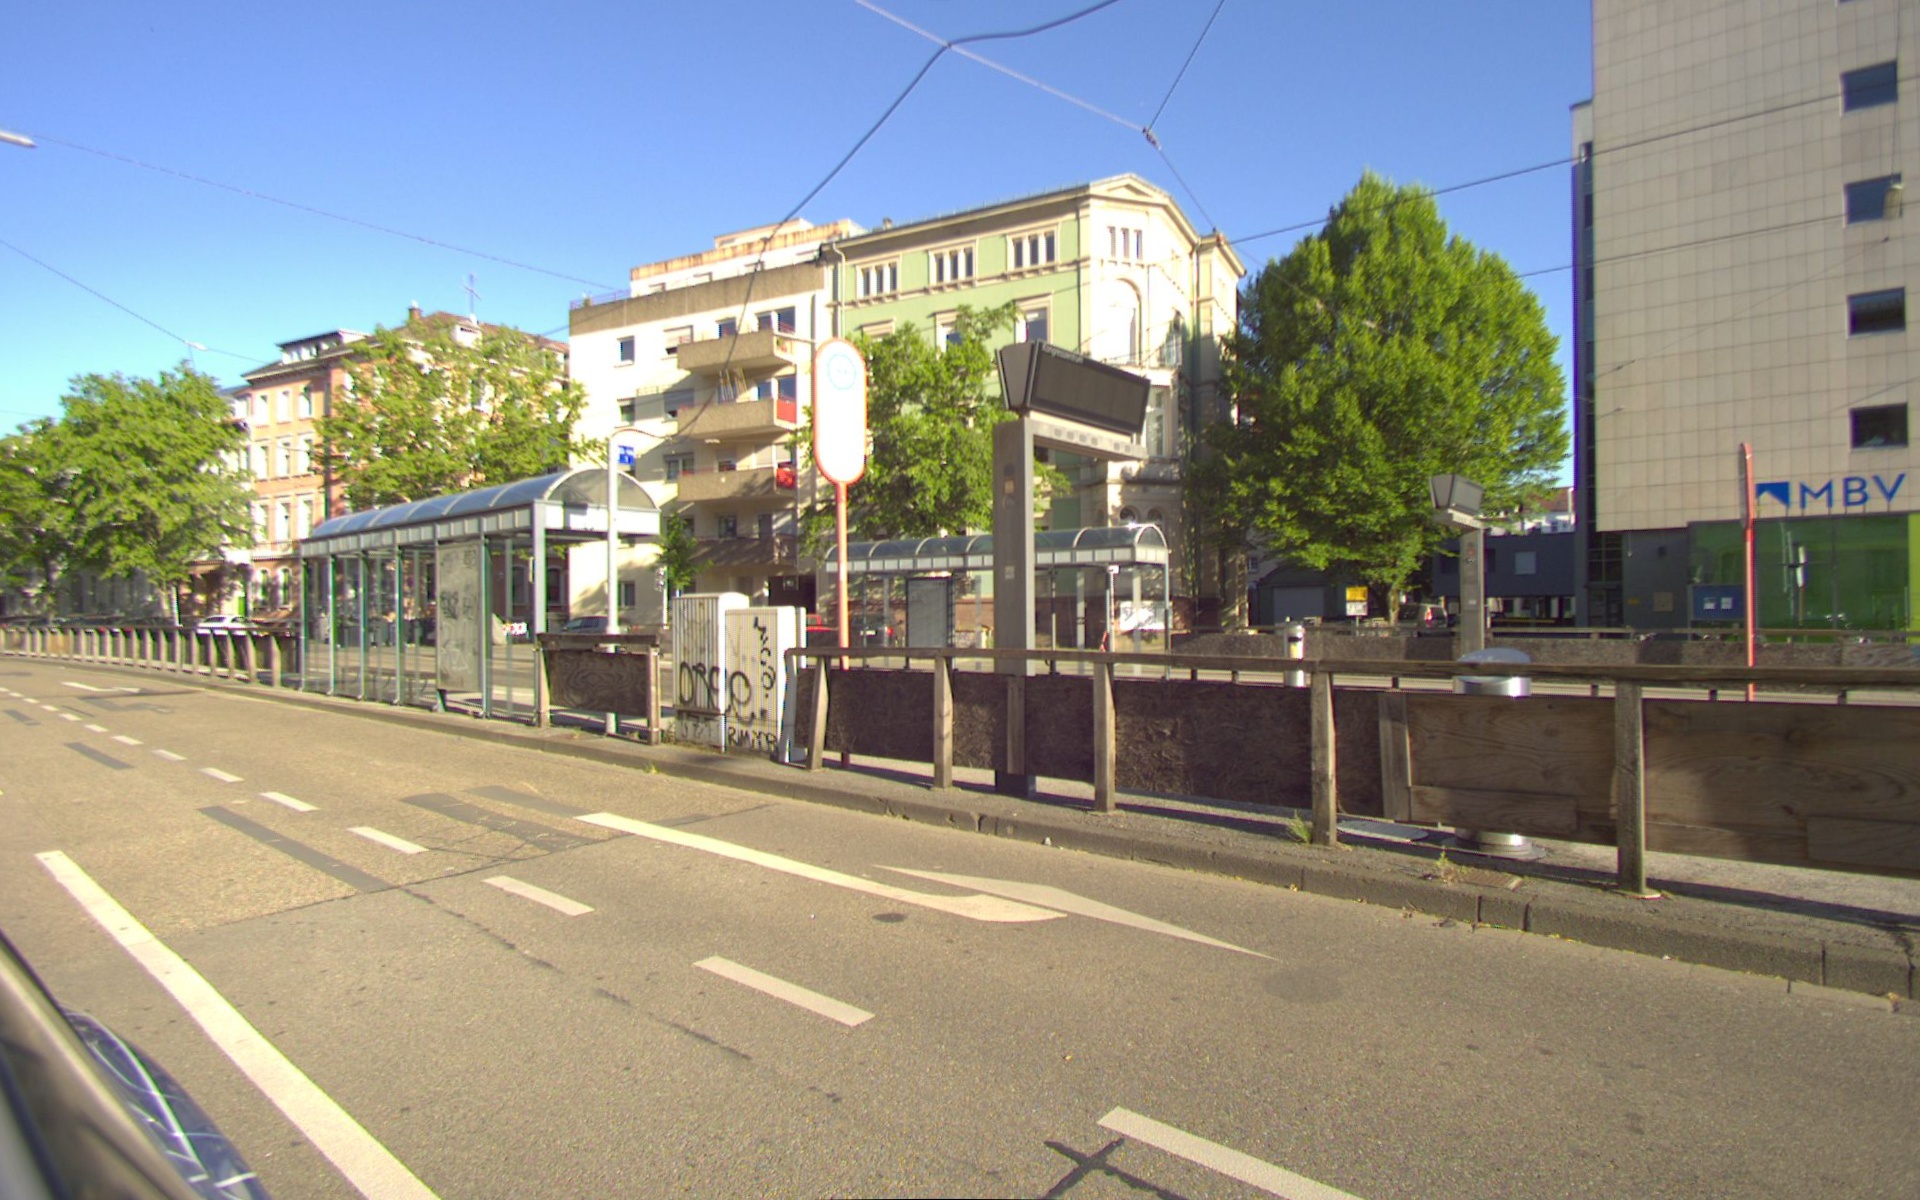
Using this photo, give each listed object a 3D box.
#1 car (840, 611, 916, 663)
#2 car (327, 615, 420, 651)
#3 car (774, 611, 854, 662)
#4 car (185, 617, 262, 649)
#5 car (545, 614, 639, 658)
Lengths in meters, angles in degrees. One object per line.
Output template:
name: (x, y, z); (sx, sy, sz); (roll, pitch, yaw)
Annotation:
car: (-2.645, 1.186, 33.375); (1.614, 1.579, 3.588); (-1, 0, 11)
car: (-28.395, 1.561, 49.062); (1.626, 1.579, 3.560); (-1, 0, 33)
car: (-4.918, 1.216, 34.571); (1.614, 1.579, 3.588); (-1, 0, 11)
car: (-39.394, 1.741, 54.221); (1.607, 1.579, 3.601); (-1, 0, -2)
car: (-14.030, 1.334, 38.524); (3.592, 1.579, 1.612); (-1, 0, 35)
